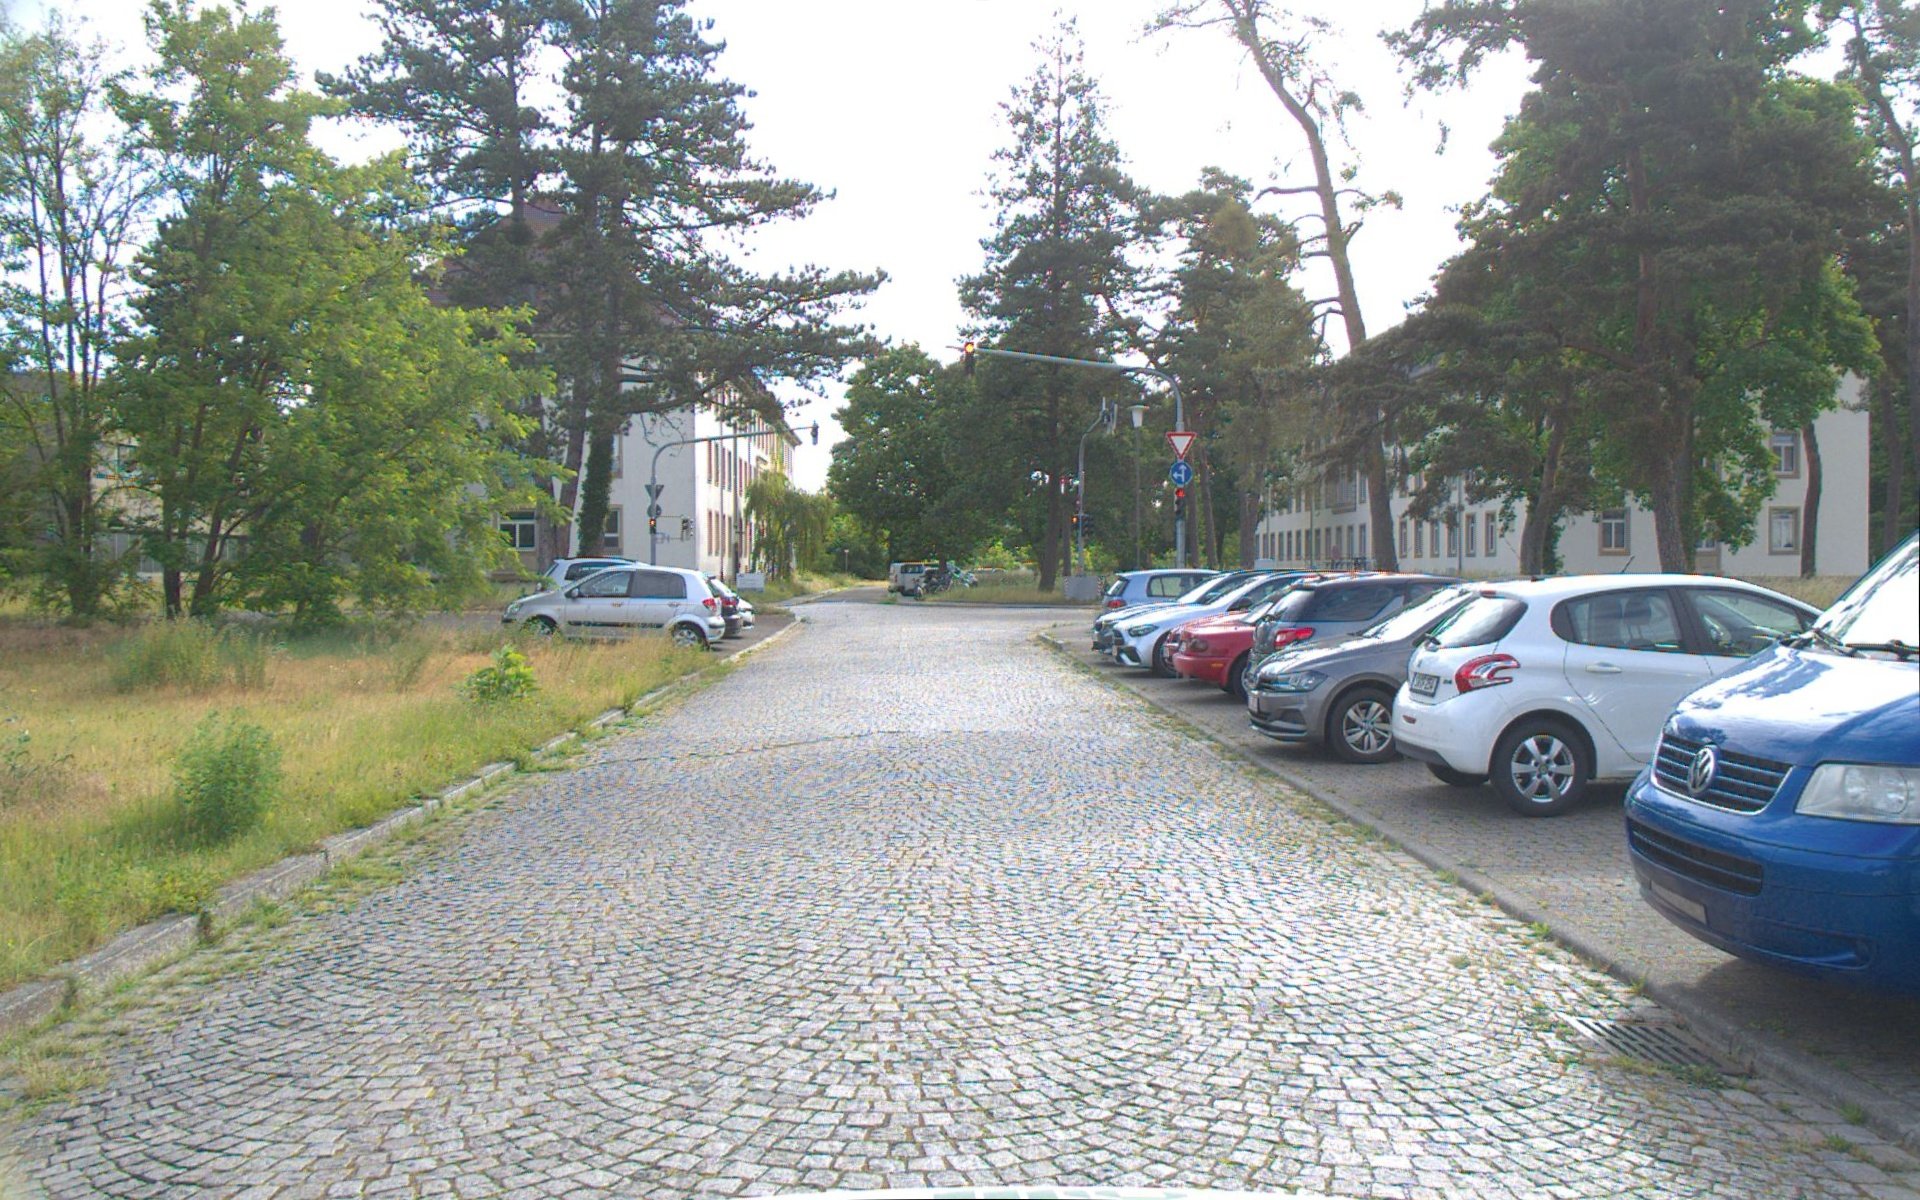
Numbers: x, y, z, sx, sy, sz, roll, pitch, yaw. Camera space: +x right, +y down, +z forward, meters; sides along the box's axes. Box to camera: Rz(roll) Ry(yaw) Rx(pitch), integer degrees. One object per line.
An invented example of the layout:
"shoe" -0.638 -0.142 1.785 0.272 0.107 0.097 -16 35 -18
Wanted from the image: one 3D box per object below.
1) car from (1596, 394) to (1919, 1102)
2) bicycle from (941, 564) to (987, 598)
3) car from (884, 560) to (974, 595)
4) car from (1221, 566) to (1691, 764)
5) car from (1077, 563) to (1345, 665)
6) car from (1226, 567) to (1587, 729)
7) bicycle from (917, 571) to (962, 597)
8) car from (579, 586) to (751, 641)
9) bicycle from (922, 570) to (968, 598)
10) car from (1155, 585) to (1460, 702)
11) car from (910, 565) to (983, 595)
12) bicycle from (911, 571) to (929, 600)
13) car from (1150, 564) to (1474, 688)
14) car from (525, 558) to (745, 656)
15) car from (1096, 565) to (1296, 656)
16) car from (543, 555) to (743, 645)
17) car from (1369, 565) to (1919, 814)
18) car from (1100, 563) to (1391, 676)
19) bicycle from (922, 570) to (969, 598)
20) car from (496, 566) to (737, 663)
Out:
"car" 4.911 0.409 5.846 4.687 2.075 1.737 0 1 -3
"bicycle" 0.178 -0.931 79.813 2.120 1.644 0.811 0 1 -9
"car" -1.840 -1.311 96.265 4.962 2.049 1.994 0 1 -13
"car" 4.205 0.485 14.218 3.535 1.533 1.659 -1 1 -13
"car" 4.071 0.198 27.105 4.045 1.570 1.661 0 1 -8
"car" 4.572 0.440 17.112 3.235 1.530 1.659 -1 1 -13
"bicycle" -0.984 -0.777 80.273 2.120 1.290 0.811 0 1 -9
"car" -6.404 0.286 36.161 3.602 1.113 1.643 0 1 -8
"bicycle" -0.711 -0.764 79.070 2.120 1.290 0.811 0 1 -9
"car" 4.109 0.486 19.811 3.230 1.289 1.661 0 1 -8
"car" -0.785 -1.134 93.029 3.912 1.673 1.997 0 1 -8
"bicycle" -1.791 -0.651 74.679 0.793 1.290 1.973 0 1 -1
"car" 4.644 0.314 22.078 3.912 1.570 1.661 0 1 -8
"car" -6.000 0.095 30.965 3.912 1.735 1.997 0 1 -8
"car" 4.209 0.165 29.682 3.325 1.570 1.389 0 1 -8
"car" -6.448 -0.023 33.926 3.913 1.780 1.923 0 1 -9
"car" 4.626 0.538 11.269 3.227 1.531 1.663 0 1 -4
"car" 4.145 0.253 24.291 3.912 1.570 1.661 0 1 -8
"bicycle" -0.687 -0.760 78.483 2.120 1.290 0.811 0 1 -9
"car" -5.822 0.212 28.477 3.912 1.579 1.997 0 1 -8
